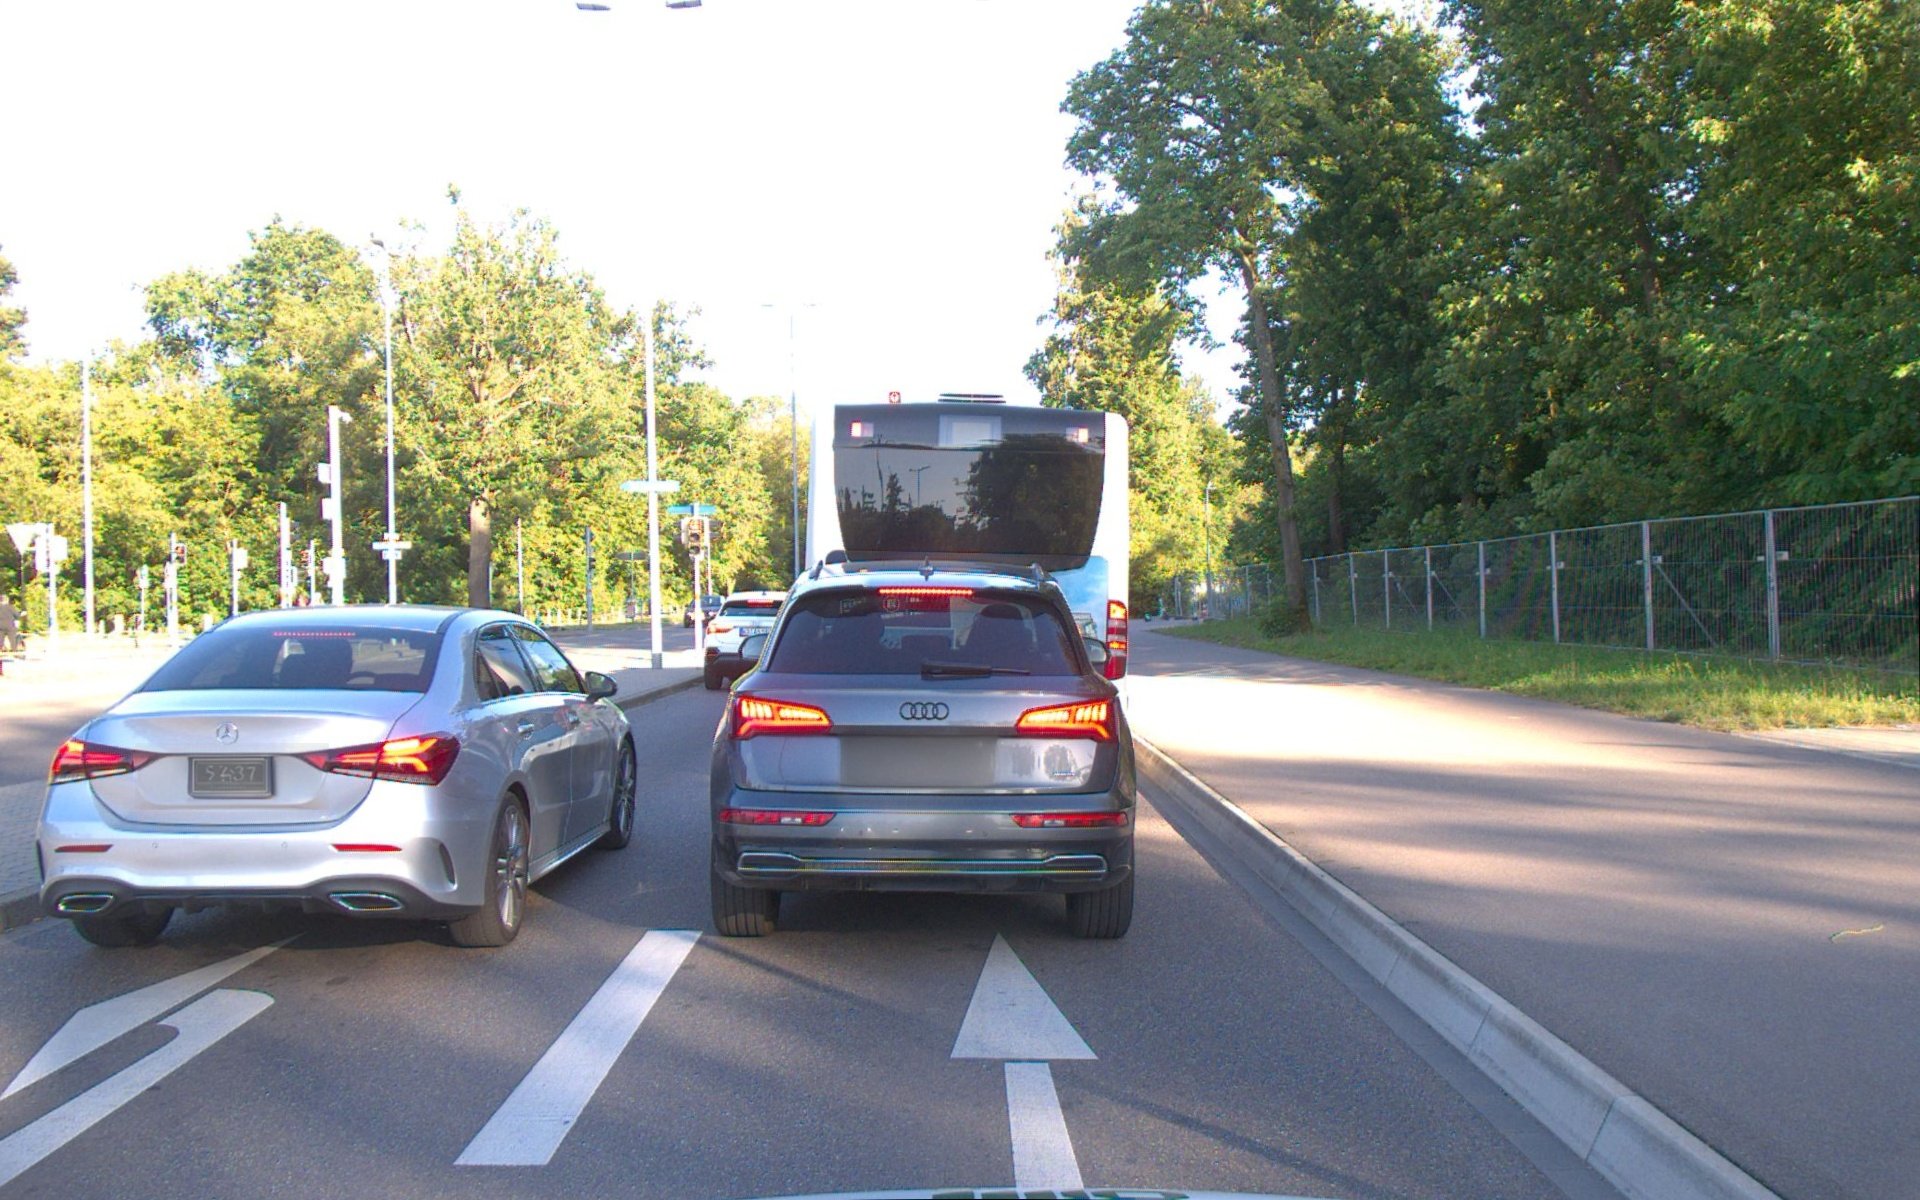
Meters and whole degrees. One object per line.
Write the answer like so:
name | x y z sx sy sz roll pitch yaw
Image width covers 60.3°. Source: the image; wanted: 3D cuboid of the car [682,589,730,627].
car | -11.834 0.354 77.217 1.955 1.691 3.995 -2 0 -6

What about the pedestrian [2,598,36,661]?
pedestrian | -24.139 0.747 42.440 0.472 1.589 0.648 1 -1 -1

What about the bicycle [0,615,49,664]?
bicycle | -24.141 1.000 42.388 0.458 1.198 2.003 1 0 -1

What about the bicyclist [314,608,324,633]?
bicyclist | -24.693 0.785 63.734 0.268 0.979 0.240 1 -1 -7

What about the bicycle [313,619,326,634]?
bicycle | -24.705 1.023 63.774 0.261 0.592 0.838 1 0 -6

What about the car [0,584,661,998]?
car | -2.724 0.677 8.173 1.749 1.469 4.277 1 1 -1

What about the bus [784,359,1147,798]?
bus | 0.064 -0.195 15.147 2.623 3.196 5.882 1 1 0

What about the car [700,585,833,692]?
car | -3.135 0.584 27.480 1.771 1.599 4.000 1 1 -1

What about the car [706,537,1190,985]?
car | -0.073 0.594 8.339 1.830 1.693 4.000 1 1 -1

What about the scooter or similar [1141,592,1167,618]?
scooter or similar | 9.154 0.252 78.097 1.158 1.195 0.659 1 0 10
